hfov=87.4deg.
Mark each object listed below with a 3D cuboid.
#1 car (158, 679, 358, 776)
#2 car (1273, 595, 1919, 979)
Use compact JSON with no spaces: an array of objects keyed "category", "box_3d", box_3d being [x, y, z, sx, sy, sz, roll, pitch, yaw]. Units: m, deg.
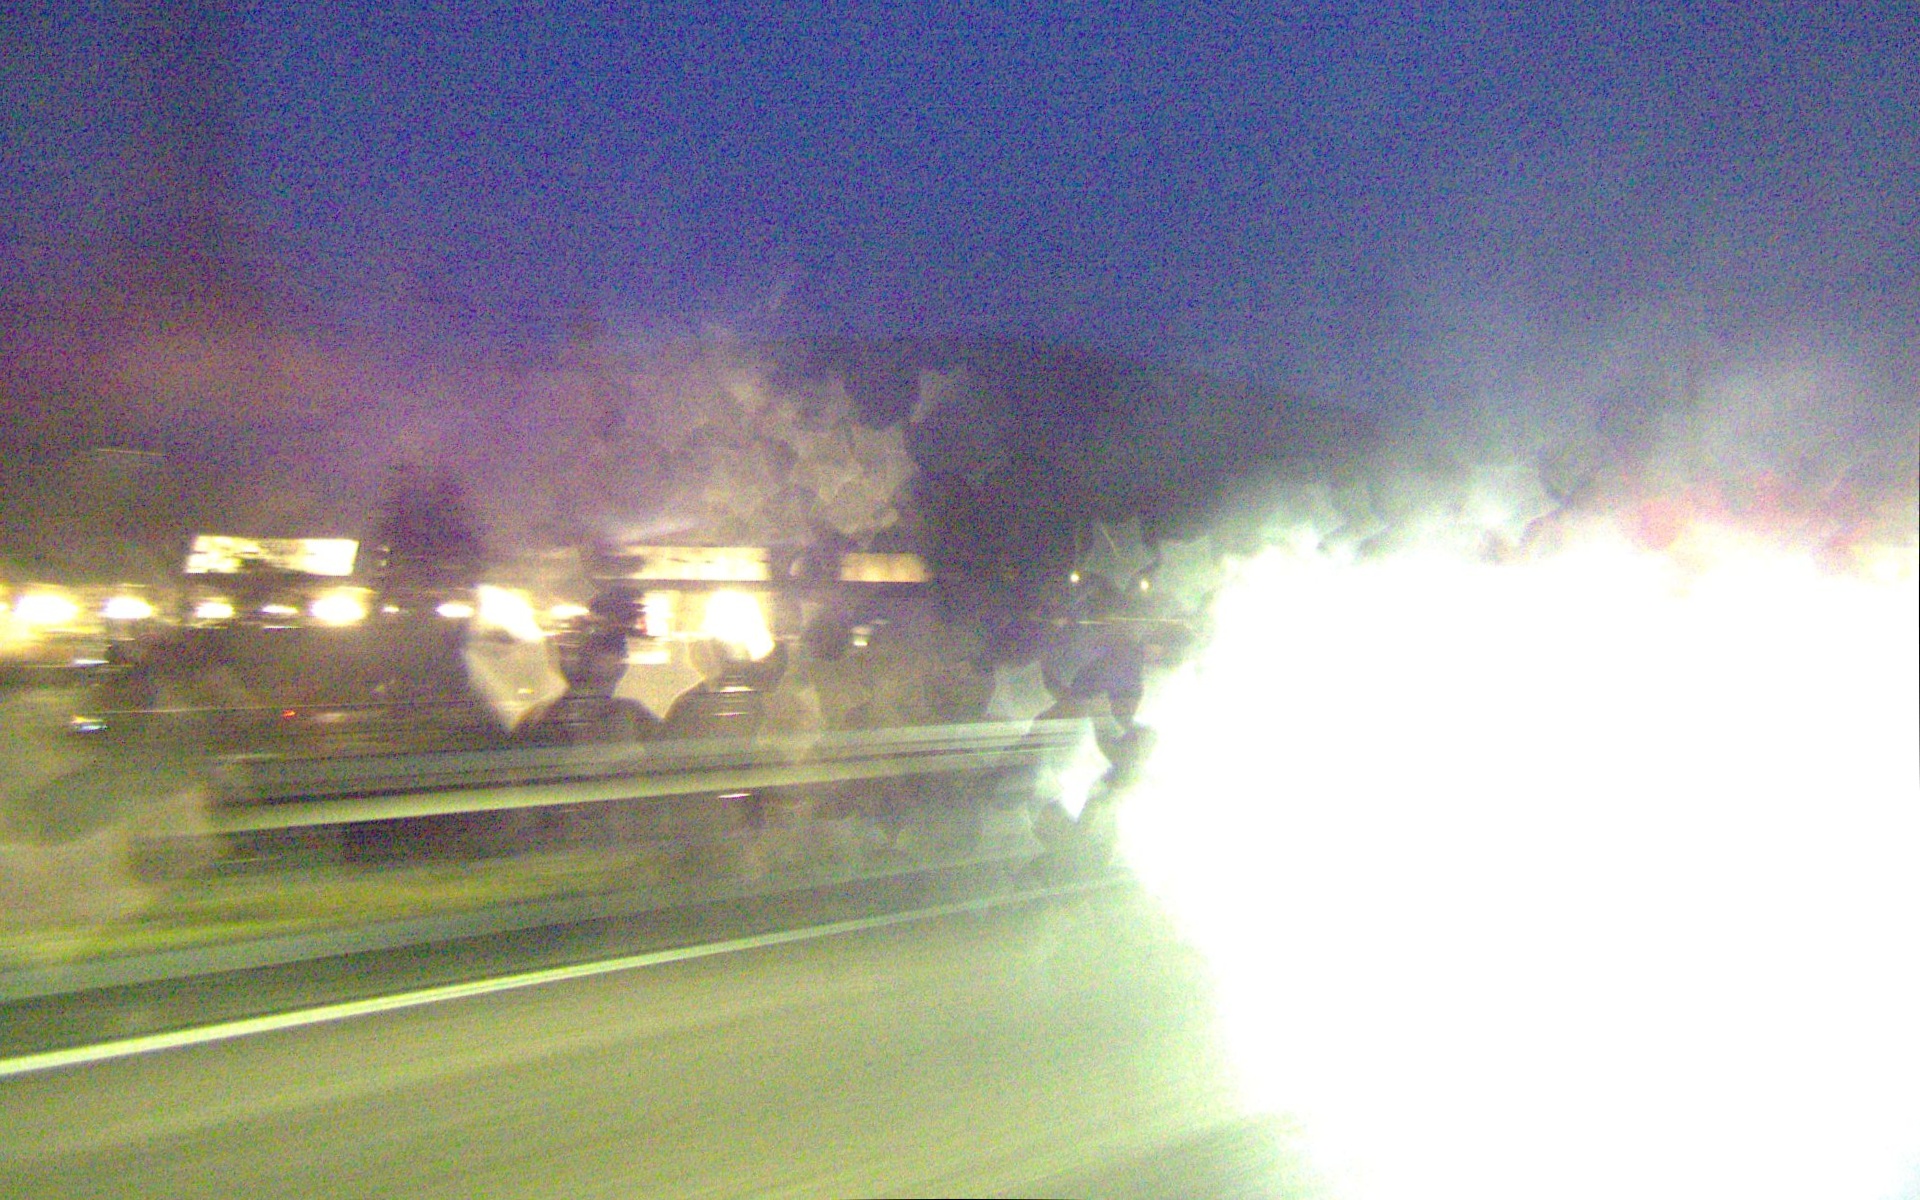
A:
[{"category":"car","box_3d":[-17.611,3.121,25.376,3.961,2.040,1.980,2,-1,-35]},{"category":"car","box_3d":[4.316,0.866,6.345,4.560,1.635,1.983,2,-1,-32]}]
